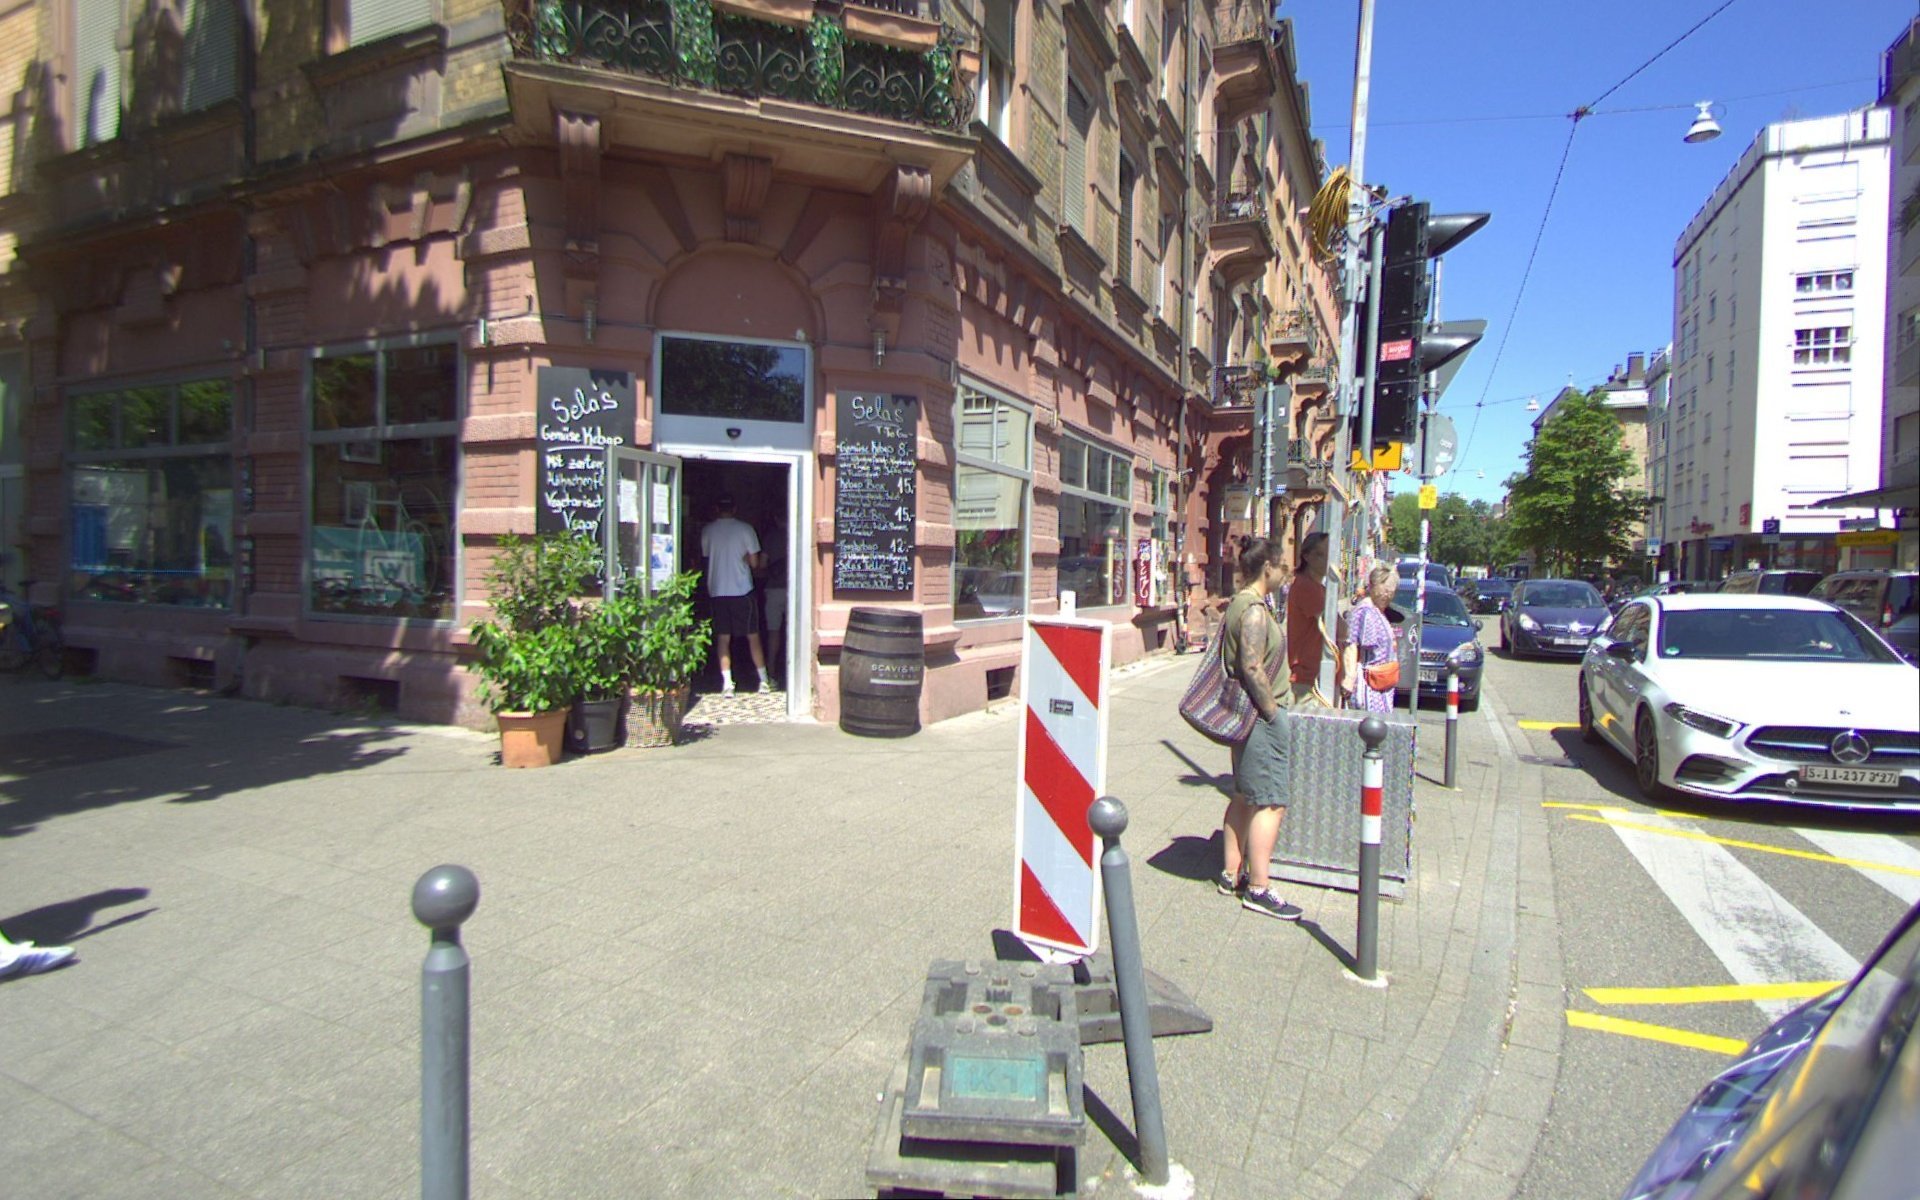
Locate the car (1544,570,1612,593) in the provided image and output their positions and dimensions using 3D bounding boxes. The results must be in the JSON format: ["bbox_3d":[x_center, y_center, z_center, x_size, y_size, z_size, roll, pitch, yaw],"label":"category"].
[{"bbox_3d":[43.446,-1.318,71.257,3.848,1.514,1.638,2,2,26],"label":"car"}]

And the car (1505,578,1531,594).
[{"bbox_3d":[55.924,-1.383,101.528,1.979,1.533,3.967,0,1,25],"label":"car"}]

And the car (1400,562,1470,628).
[{"bbox_3d":[13.538,-0.201,28.882,1.689,1.755,3.967,0,2,25],"label":"car"}]

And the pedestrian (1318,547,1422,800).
[{"bbox_3d":[2.678,0.448,6.610,0.491,1.561,0.431,4,3,32],"label":"pedestrian"}]

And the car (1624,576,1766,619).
[{"bbox_3d":[26.945,-0.123,37.239,3.847,1.443,1.802,1,2,23],"label":"car"}]

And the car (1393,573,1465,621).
[{"bbox_3d":[15.374,-0.149,33.329,1.744,1.467,3.882,0,2,19],"label":"car"}]

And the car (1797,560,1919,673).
[{"bbox_3d":[17.183,0.218,18.335,1.774,1.834,4.665,0,1,22],"label":"car"}]

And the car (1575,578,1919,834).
[{"bbox_3d":[6.150,0.576,7.911,1.796,1.443,4.206,1,2,25],"label":"car"}]

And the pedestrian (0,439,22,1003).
[{"bbox_3d":[-3.428,0.388,3.023,0.477,1.753,0.858,2,3,44],"label":"pedestrian"}]

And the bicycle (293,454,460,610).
[{"bbox_3d":[-4.704,-0.530,8.142,1.413,1.166,0.505,1,2,29],"label":"bicycle"}]

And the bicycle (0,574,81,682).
[{"bbox_3d":[-9.780,0.257,10.415,1.680,1.020,0.518,2,2,27],"label":"bicycle"}]

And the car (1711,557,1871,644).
[{"bbox_3d":[19.600,-0.049,24.128,1.776,1.851,4.859,0,1,25],"label":"car"}]

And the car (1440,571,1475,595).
[{"bbox_3d":[30.883,-1.082,62.914,1.731,1.407,3.968,1,2,24],"label":"car"}]

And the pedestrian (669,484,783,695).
[{"bbox_3d":[-2.128,-0.102,9.188,0.922,1.840,0.458,0,4,-21],"label":"pedestrian"}]

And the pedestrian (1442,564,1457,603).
[{"bbox_3d":[24.215,-0.828,50.086,0.629,1.937,0.367,1,1,26],"label":"pedestrian"}]

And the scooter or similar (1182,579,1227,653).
[{"bbox_3d":[4.130,0.243,17.061,0.291,1.191,1.256,1,2,34],"label":"scooter or similar"}]

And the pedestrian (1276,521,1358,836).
[{"bbox_3d":[2.015,0.417,5.706,0.331,1.696,0.397,1,2,31],"label":"pedestrian"}]

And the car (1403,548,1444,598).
[{"bbox_3d":[26.721,-1.556,58.324,2.047,2.736,4.997,-1,1,25],"label":"car"}]

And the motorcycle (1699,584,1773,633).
[{"bbox_3d":[21.298,0.223,27.799,0.386,1.300,1.557,-2,2,-32],"label":"motorcycle"}]

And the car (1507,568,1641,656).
[{"bbox_3d":[11.665,0.156,19.467,1.763,1.487,3.967,0,1,25],"label":"car"}]

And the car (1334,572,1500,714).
[{"bbox_3d":[5.765,0.406,12.812,1.616,1.449,3.630,3,3,25],"label":"car"}]

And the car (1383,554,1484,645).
[{"bbox_3d":[10.553,-0.091,22.779,1.810,1.788,4.304,3,3,23],"label":"car"}]

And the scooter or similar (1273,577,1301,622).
[{"bbox_3d":[8.927,-0.035,27.602,0.473,1.167,2.131,1,2,25],"label":"scooter or similar"}]

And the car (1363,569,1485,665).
[{"bbox_3d":[8.233,0.191,18.139,1.712,1.449,4.451,3,3,23],"label":"car"}]

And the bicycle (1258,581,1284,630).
[{"bbox_3d":[7.487,0.116,24.323,0.351,1.117,1.741,1,2,25],"label":"bicycle"}]

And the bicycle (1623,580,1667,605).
[{"bbox_3d":[30.704,-0.346,45.394,1.597,1.104,0.367,0,0,32],"label":"bicycle"}]

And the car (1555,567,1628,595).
[{"bbox_3d":[41.324,-1.268,66.344,3.848,1.769,1.638,1,2,26],"label":"car"}]

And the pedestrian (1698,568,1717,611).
[{"bbox_3d":[37.926,-0.538,51.350,0.485,2.151,0.610,0,1,-29],"label":"pedestrian"}]

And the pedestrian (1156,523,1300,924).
[{"bbox_3d":[1.144,0.477,4.304,0.457,1.579,0.474,1,2,32],"label":"pedestrian"}]

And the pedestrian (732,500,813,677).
[{"bbox_3d":[-1.911,-0.123,10.266,0.709,1.739,0.498,0,3,-20],"label":"pedestrian"}]

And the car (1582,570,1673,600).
[{"bbox_3d":[36.065,-0.823,54.806,3.848,1.548,1.638,2,2,26],"label":"car"}]

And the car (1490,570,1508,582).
[{"bbox_3d":[74.091,-3.313,139.218,1.979,1.705,3.967,0,1,25],"label":"car"}]
